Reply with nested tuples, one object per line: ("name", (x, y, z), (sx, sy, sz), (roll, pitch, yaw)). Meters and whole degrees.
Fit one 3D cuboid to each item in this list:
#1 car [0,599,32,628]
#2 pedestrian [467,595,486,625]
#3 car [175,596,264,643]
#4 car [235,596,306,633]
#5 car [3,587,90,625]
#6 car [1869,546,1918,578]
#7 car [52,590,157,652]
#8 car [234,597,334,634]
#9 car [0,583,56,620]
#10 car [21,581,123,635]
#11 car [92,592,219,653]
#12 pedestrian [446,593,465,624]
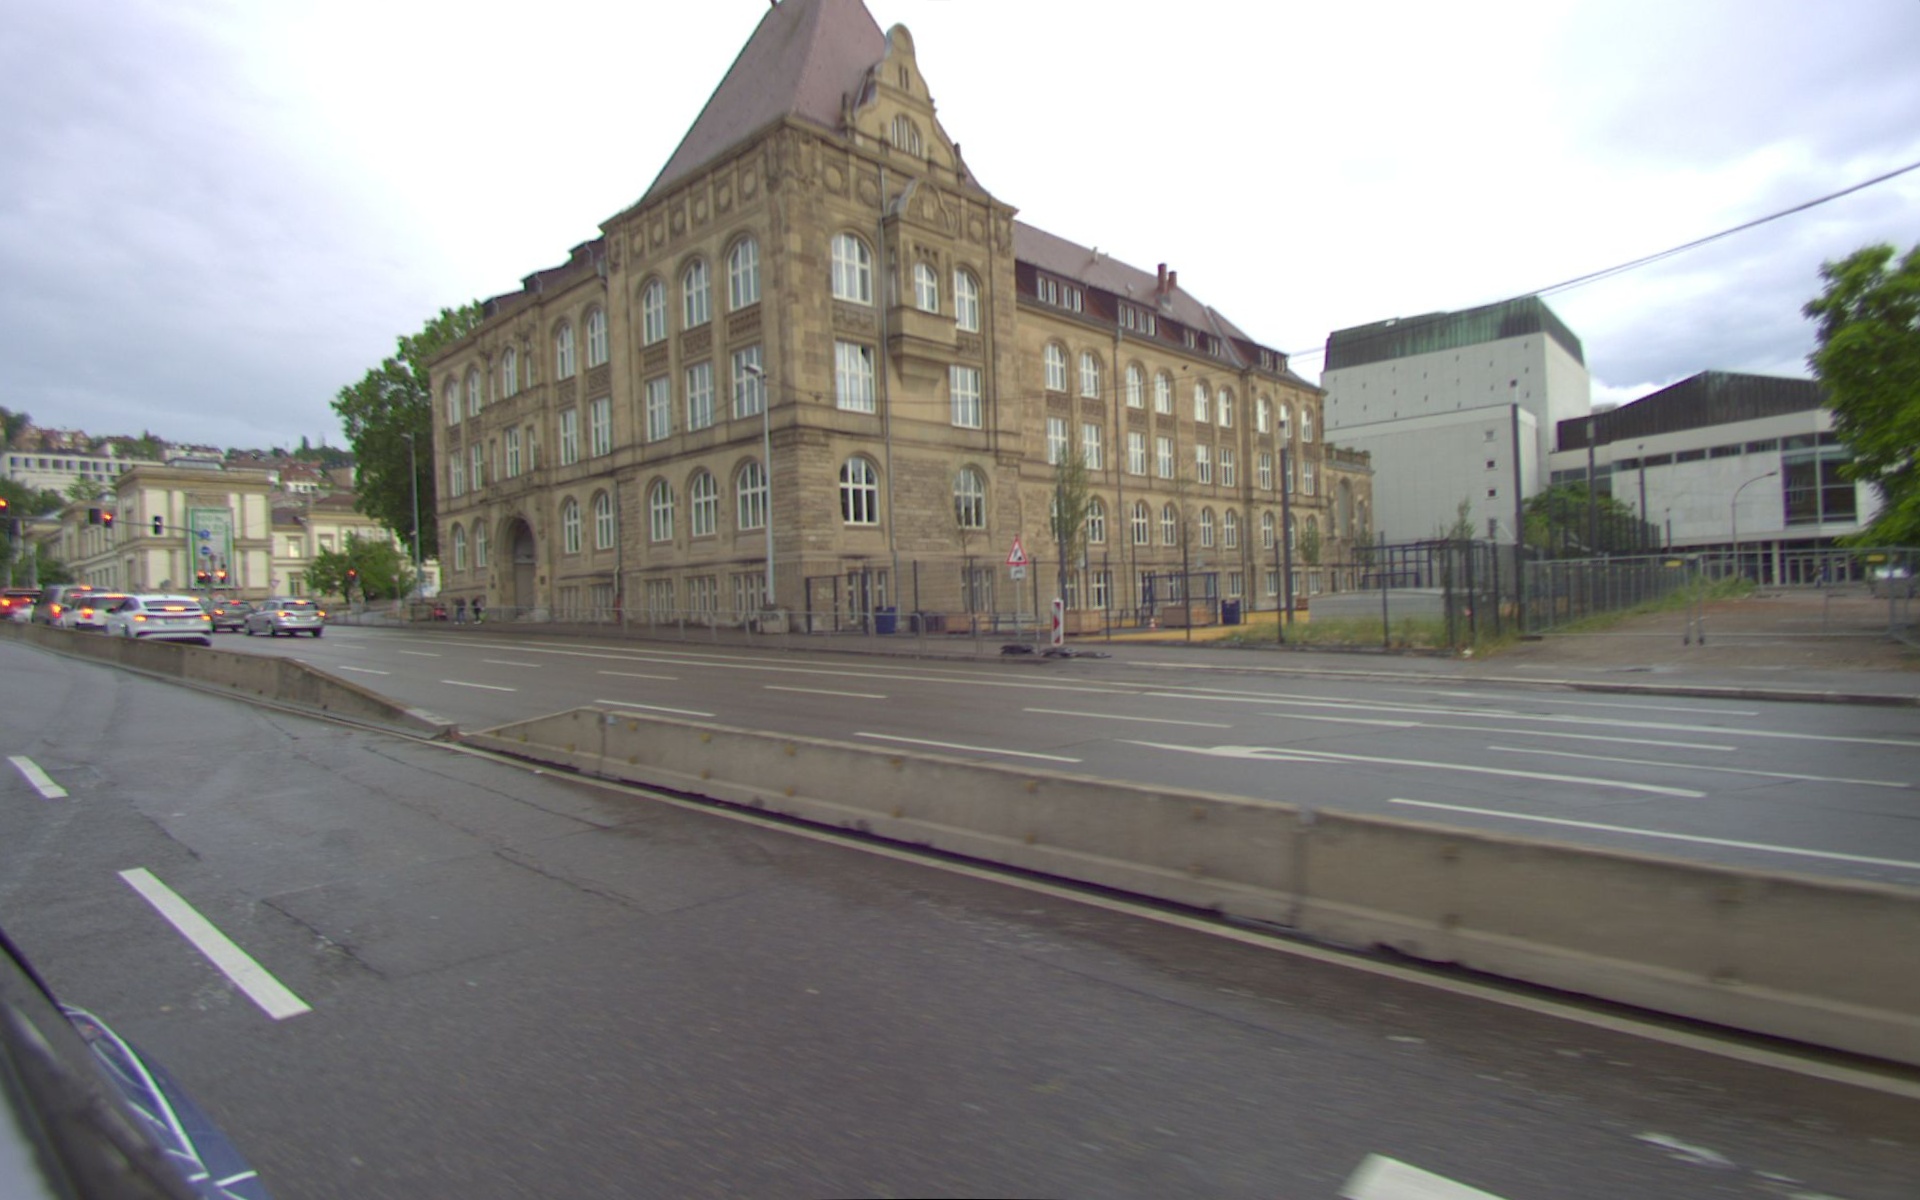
("car", (-49.931, 0.704, 52.585), (4.558, 1.482, 1.973), (0, -1, 41))
("pedestrian", (-25.818, 0.528, 54.009), (0.733, 1.596, 0.611), (0, -1, 35))
("car", (-33.067, 0.850, 45.170), (3.989, 2.029, 1.977), (0, -1, 34))
("car", (-39.252, 0.826, 57.629), (3.989, 2.029, 1.977), (0, -1, 34))
("car", (-38.397, 0.270, 42.498), (4.816, 1.513, 1.974), (0, -1, 39))
("car", (54.542, -2.224, 59.185), (1.714, 1.806, 3.950), (0, 2, 38))
("car", (-27.984, 0.665, 33.065), (4.375, 1.880, 1.890), (0, -1, 40))
("car", (-26.975, 0.622, 40.357), (4.204, 1.393, 1.976), (0, -1, 36))
("car", (-43.097, 0.097, 46.142), (5.376, 1.579, 1.974), (0, -1, 39))
("car", (-32.947, 0.307, 37.490), (5.591, 1.880, 1.973), (0, -1, 40))
("car", (-22.786, 0.615, 28.600), (4.894, 1.579, 1.874), (0, -1, 40))
("pedestrian", (-26.631, 0.462, 53.418), (0.734, 1.596, 0.610), (-1, -1, 42))
